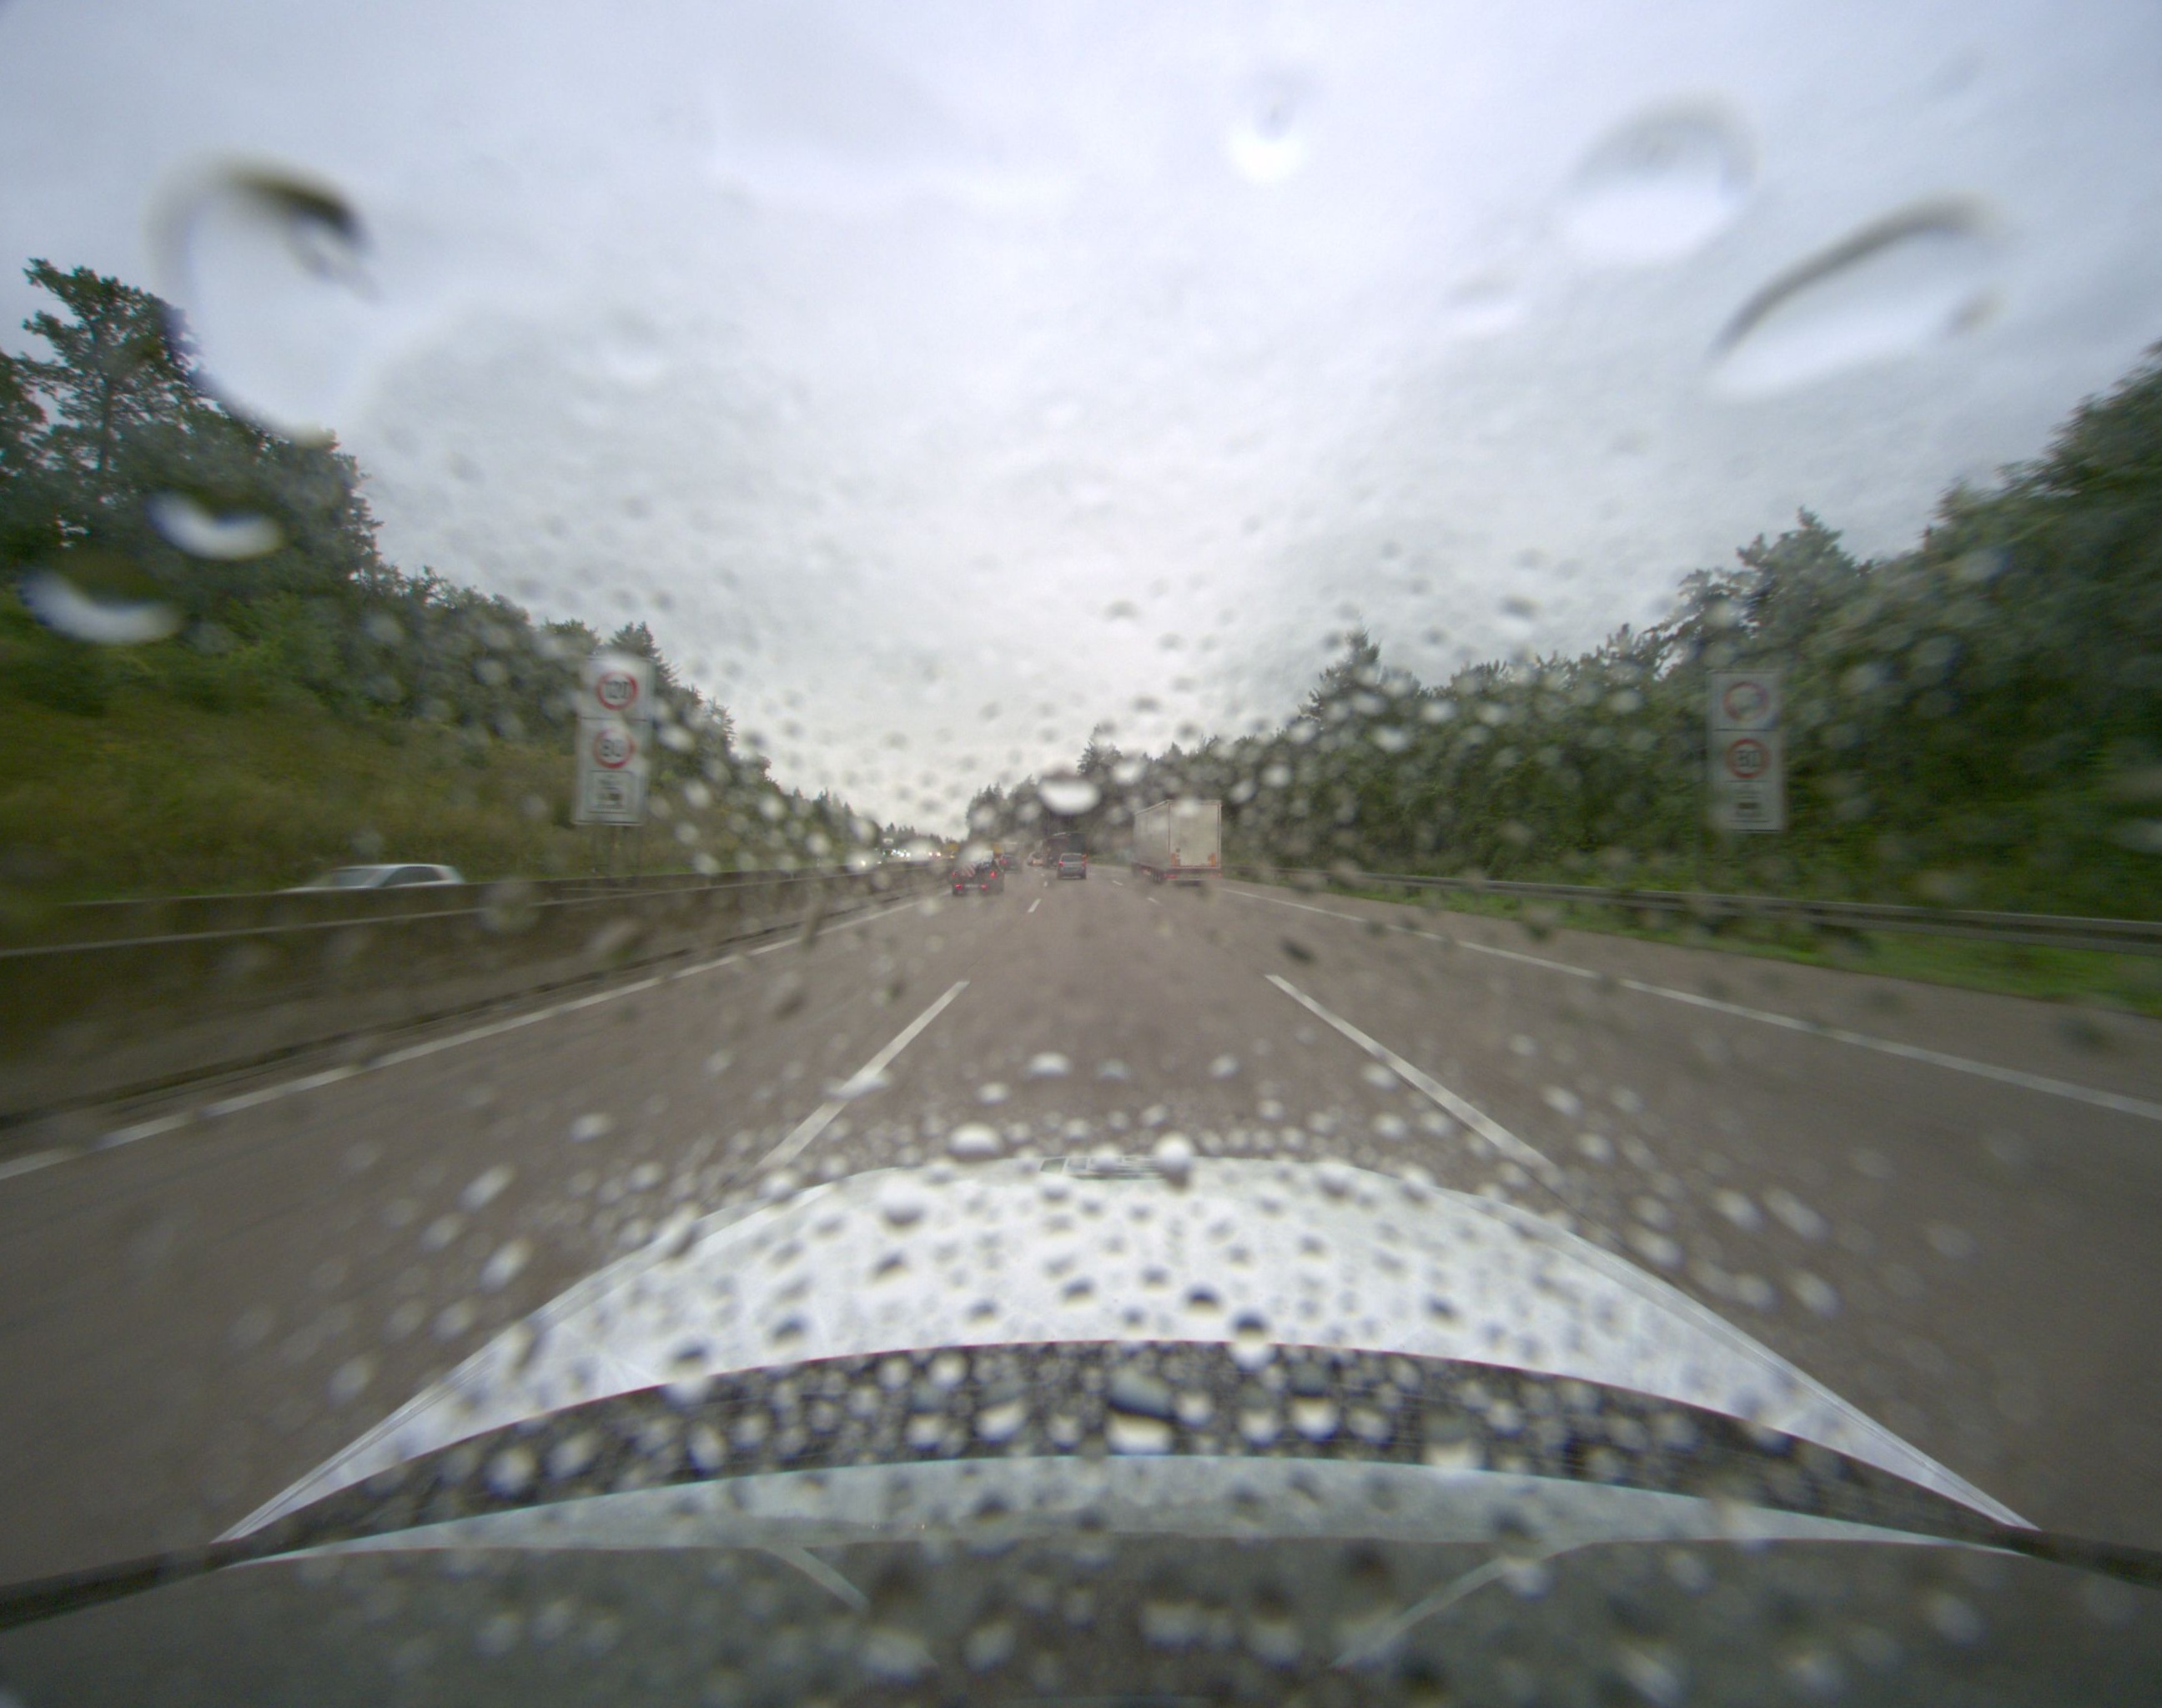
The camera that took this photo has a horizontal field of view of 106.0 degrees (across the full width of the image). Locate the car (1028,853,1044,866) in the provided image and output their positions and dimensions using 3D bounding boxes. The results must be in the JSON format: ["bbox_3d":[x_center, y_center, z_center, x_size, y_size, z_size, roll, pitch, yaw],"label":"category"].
[{"bbox_3d":[-5.429,0.662,99.360,1.877,1.473,3.996,1,0,-3],"label":"car"}]

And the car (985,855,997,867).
[{"bbox_3d":[-15.179,1.171,136.898,1.726,2.014,3.642,-1,-1,-11],"label":"car"}]

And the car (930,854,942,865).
[{"bbox_3d":[-28.427,0.966,159.549,1.991,2.082,5.321,-1,0,-6],"label":"car"}]

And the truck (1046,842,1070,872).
[{"bbox_3d":[-2.448,0.213,84.507,2.264,2.886,7.896,-1,1,-2],"label":"truck"}]

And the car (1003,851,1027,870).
[{"bbox_3d":[-5.542,0.519,68.452,1.678,1.462,3.683,1,0,0],"label":"car"}]

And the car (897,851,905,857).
[{"bbox_3d":[-46.011,0.040,208.281,1.622,1.393,3.987,-1,0,-9],"label":"car"}]

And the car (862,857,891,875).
[{"bbox_3d":[-19.292,1.133,76.930,1.772,1.638,3.997,-1,0,-2],"label":"car"}]

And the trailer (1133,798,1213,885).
[{"bbox_3d":[4.723,-0.611,44.308,2.414,4.068,12.042,-1,0,-3],"label":"trailer"}]

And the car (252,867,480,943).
[{"bbox_3d":[-16.622,1.120,19.245,1.770,1.518,4.001,-1,0,1],"label":"car"}]

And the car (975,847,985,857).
[{"bbox_3d":[-22.591,-0.439,181.685,1.994,2.059,3.985,-1,-1,-10],"label":"car"}]

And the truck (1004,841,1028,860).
[{"bbox_3d":[-10.939,-0.636,136.469,3.084,2.905,7.874,-1,1,-11],"label":"truck"}]

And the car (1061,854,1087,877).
[{"bbox_3d":[-0.402,0.672,50.666,1.548,1.351,3.684,1,0,0],"label":"car"}]

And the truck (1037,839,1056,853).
[{"bbox_3d":[-5.753,-1.310,134.716,2.969,2.309,6.656,1,0,-5],"label":"truck"}]

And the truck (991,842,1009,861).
[{"bbox_3d":[-19.103,-0.528,192.339,3.740,4.210,6.793,-1,-1,-10],"label":"truck"}]

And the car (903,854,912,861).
[{"bbox_3d":[-36.926,0.761,173.517,1.621,1.393,3.988,-1,0,-8],"label":"car"}]

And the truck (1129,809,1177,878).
[{"bbox_3d":[4.439,-0.622,51.075,2.413,4.068,4.974,-1,0,-2],"label":"truck"}]

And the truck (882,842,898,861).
[{"bbox_3d":[-44.561,-0.653,190.236,2.744,4.284,8.290,-1,0,-9],"label":"truck"}]

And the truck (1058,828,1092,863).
[{"bbox_3d":[-0.847,-0.985,101.727,3.363,4.131,10.420,-1,0,-5],"label":"truck"}]
